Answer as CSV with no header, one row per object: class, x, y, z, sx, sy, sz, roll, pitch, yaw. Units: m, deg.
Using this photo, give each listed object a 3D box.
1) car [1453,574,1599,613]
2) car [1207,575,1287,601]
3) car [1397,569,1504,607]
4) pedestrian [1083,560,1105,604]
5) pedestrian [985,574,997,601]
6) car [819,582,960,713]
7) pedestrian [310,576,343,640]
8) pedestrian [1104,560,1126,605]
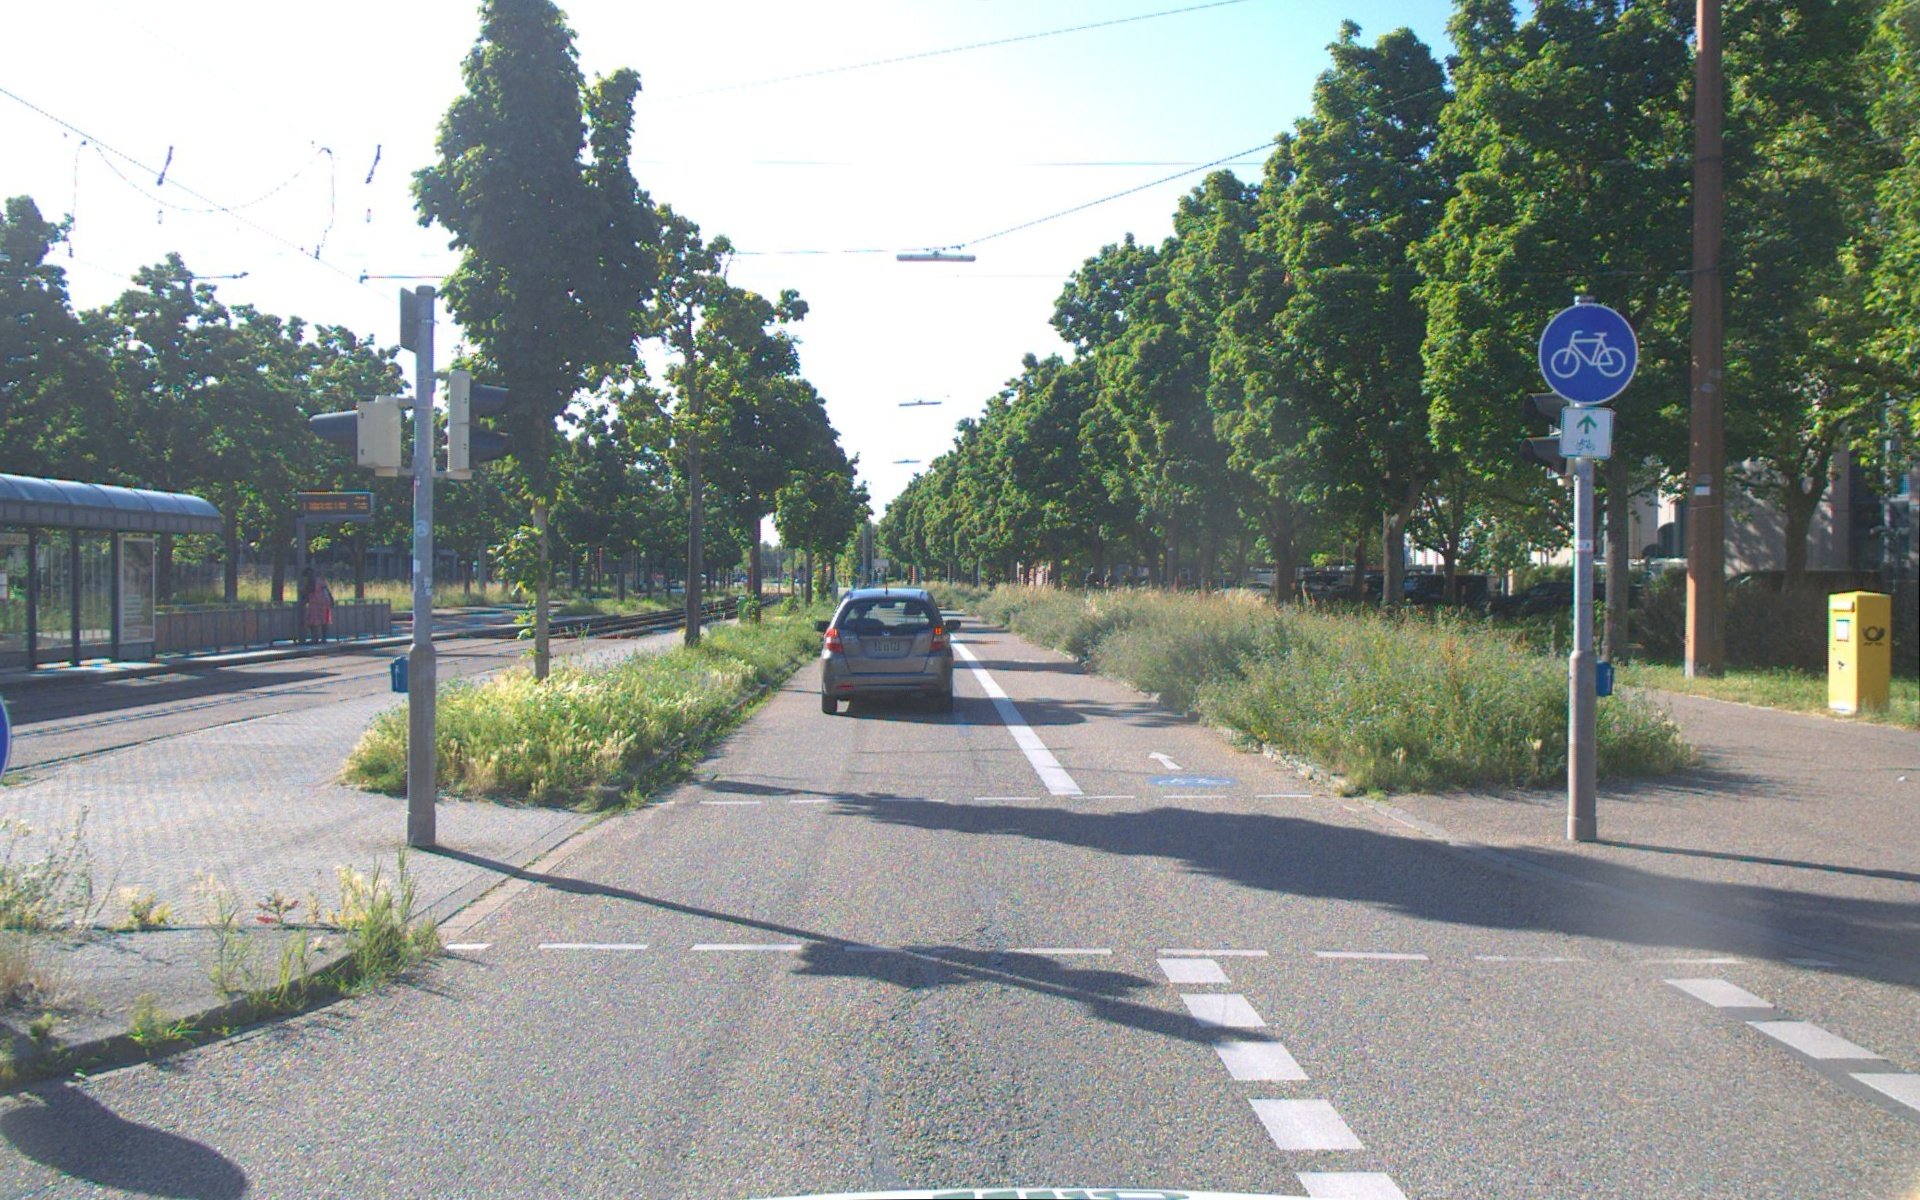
car,20.245,-0.234,59.173,4.589,1.350,2.085,0,1,34
car,17.842,-0.774,102.968,4.542,1.583,1.997,0,0,-7
car,20.733,-0.516,69.922,3.919,1.539,1.993,0,1,35
pedestrian,5.833,-0.779,72.084,0.864,1.917,0.875,0,0,-4
pedestrian,2.060,-0.829,109.269,0.710,1.720,0.820,0,0,-3
car,-0.854,0.586,21.666,1.666,1.550,3.709,1,-1,0
pedestrian,-14.649,0.189,38.279,0.533,1.473,0.559,-1,0,-1
pedestrian,6.755,-0.758,72.107,0.864,1.917,0.875,0,0,-4
